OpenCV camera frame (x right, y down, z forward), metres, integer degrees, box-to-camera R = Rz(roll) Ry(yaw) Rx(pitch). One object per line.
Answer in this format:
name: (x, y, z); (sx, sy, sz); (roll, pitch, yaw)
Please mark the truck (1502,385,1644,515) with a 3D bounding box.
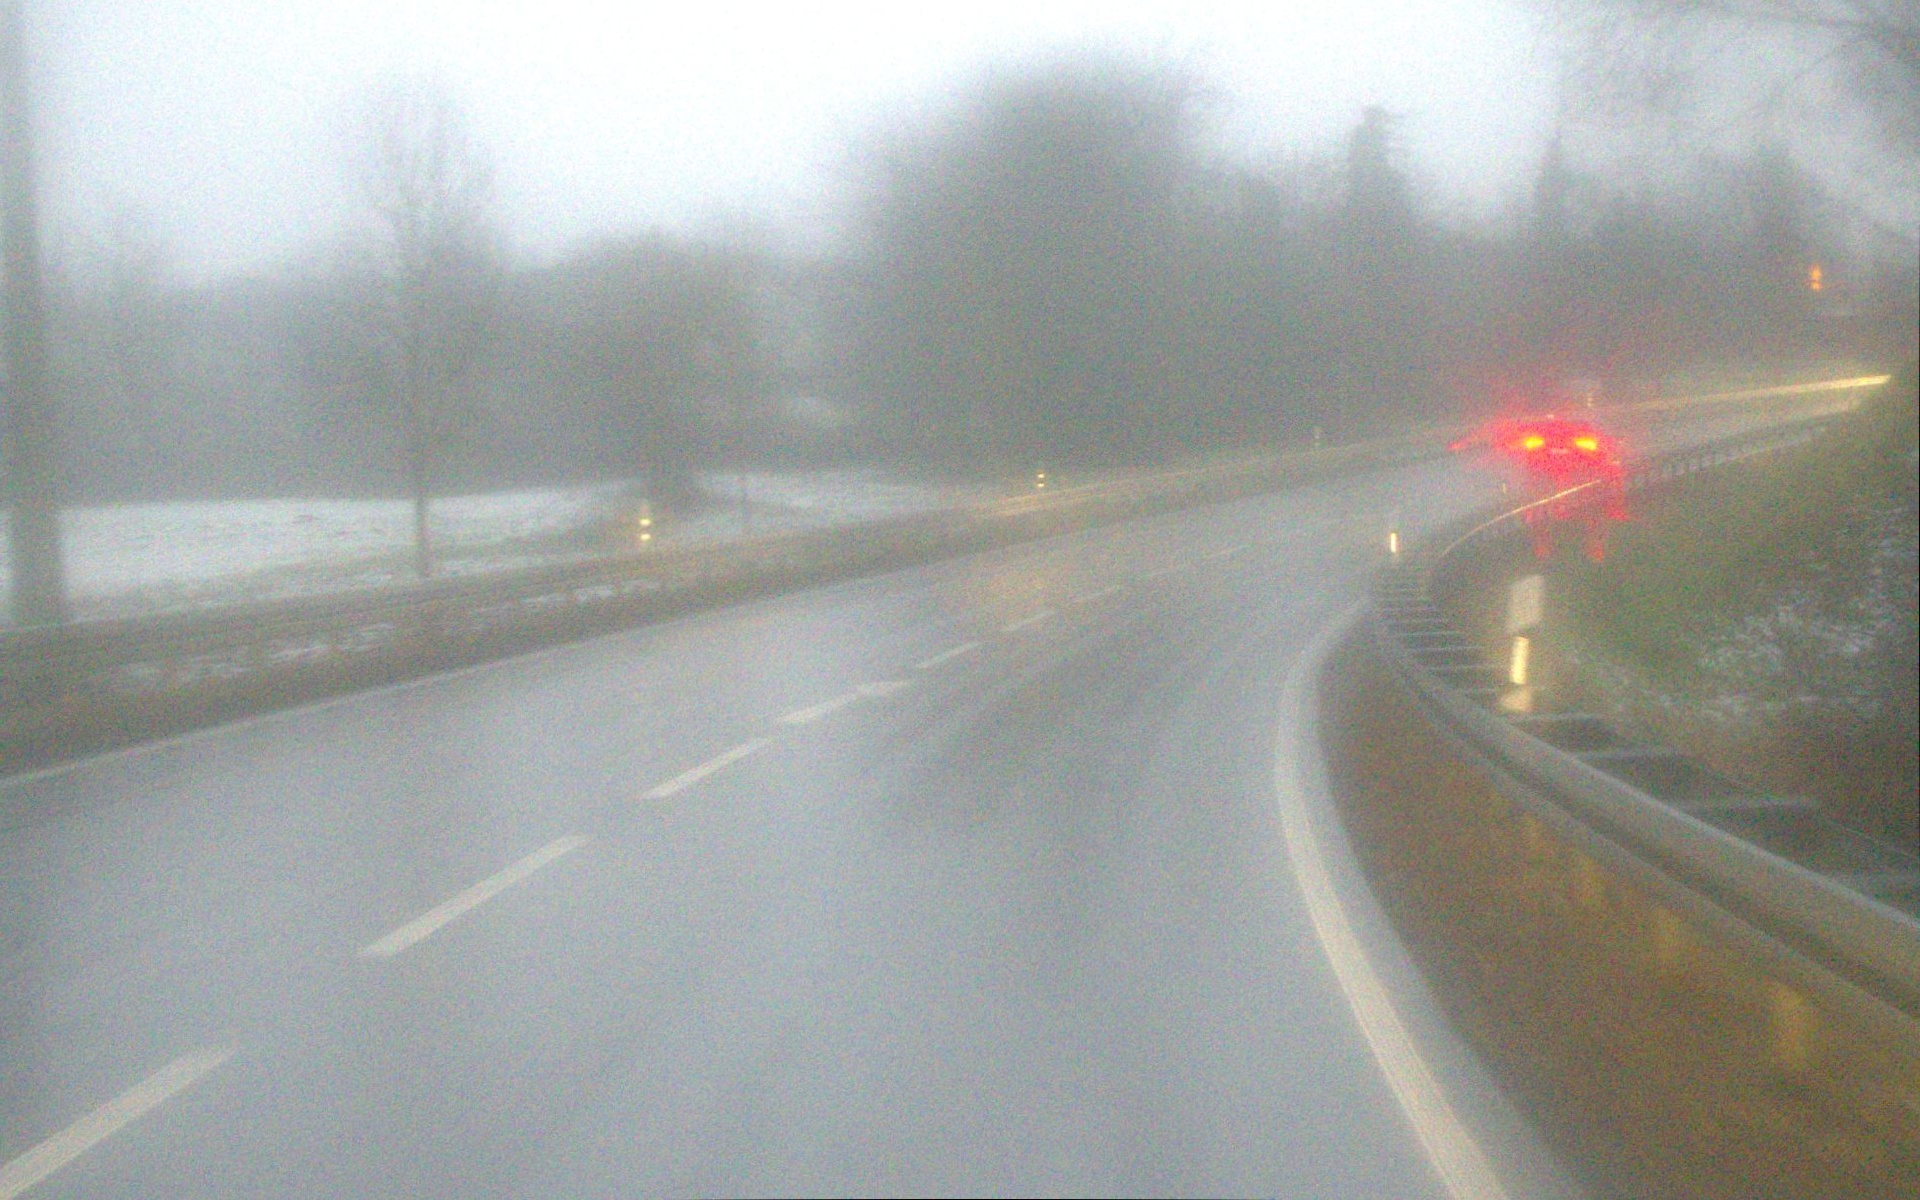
truck: (14.953, -3.679, 83.558); (2.534, 2.858, 5.918); (-1, 4, 18)
